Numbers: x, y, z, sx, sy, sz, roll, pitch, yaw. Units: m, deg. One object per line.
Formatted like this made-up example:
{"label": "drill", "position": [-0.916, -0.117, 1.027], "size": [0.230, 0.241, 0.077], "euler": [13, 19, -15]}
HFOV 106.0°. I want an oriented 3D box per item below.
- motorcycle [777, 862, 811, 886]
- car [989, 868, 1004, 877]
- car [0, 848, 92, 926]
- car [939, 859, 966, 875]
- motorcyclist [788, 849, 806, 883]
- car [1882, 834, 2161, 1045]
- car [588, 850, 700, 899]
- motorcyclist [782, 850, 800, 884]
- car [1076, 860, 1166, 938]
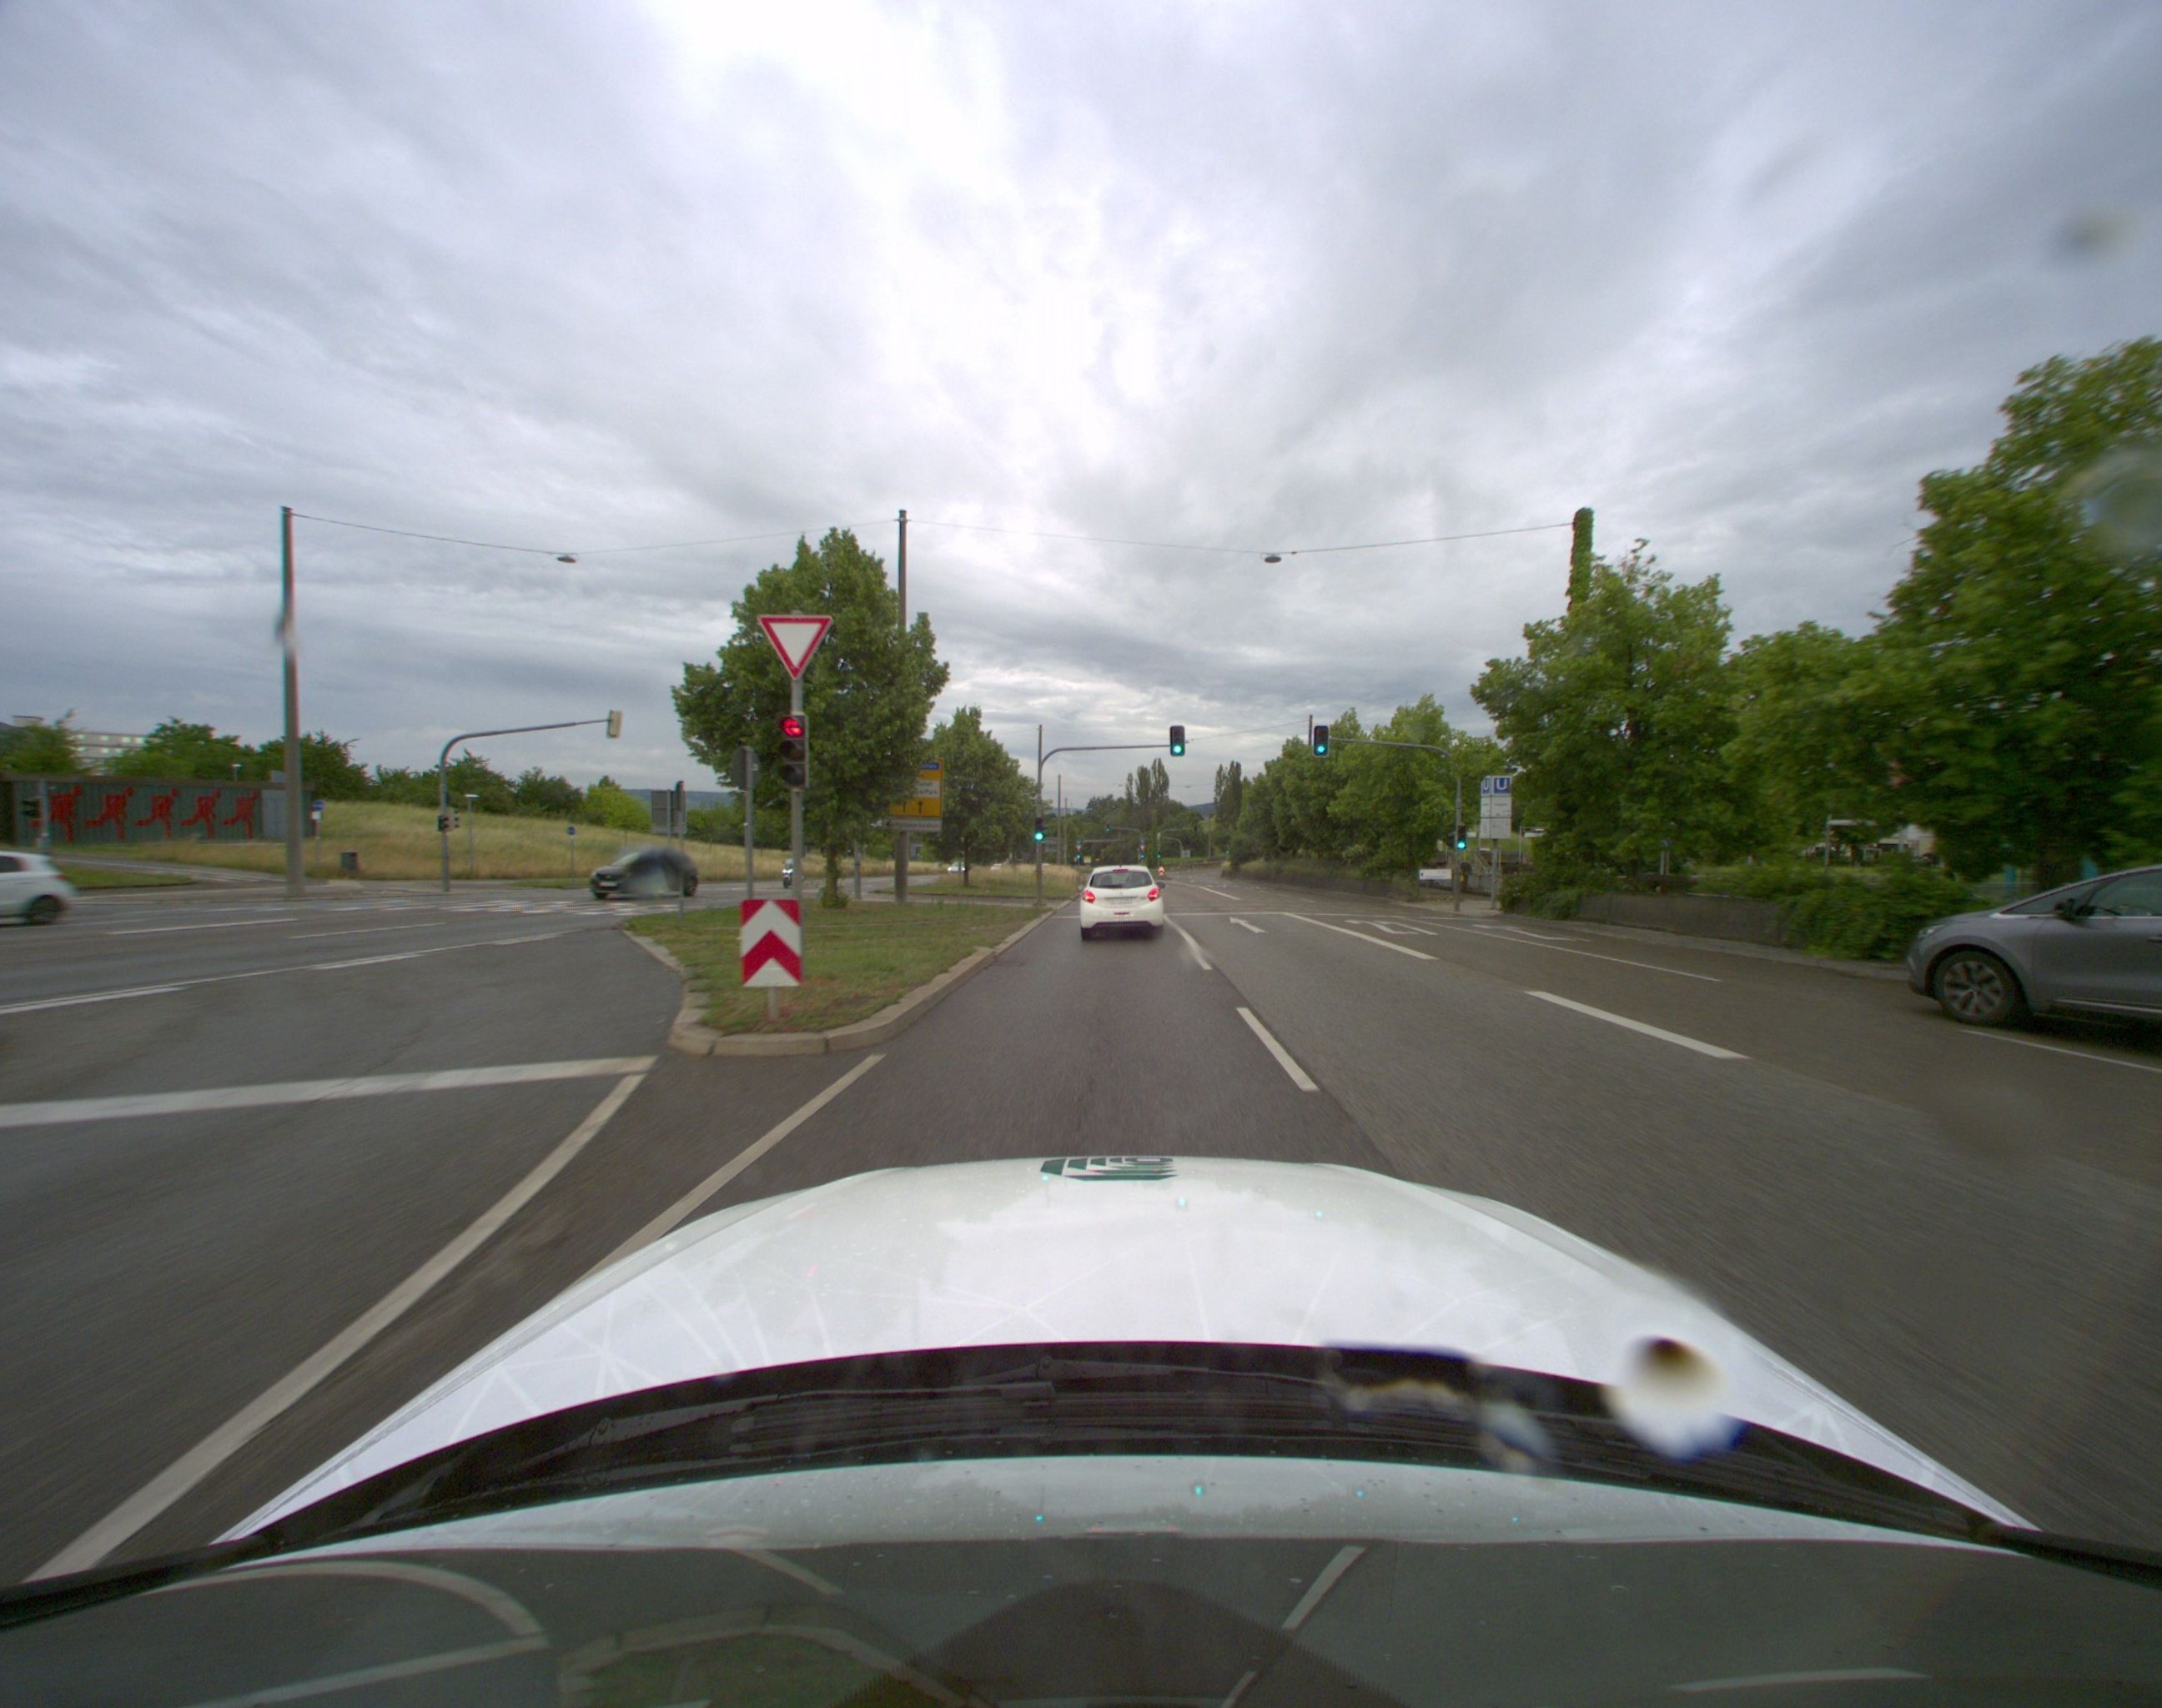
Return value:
{"label": "motorcycle", "position": [-13.502, 0.930, 38.381], "size": [0.614, 1.050, 2.503], "euler": [0, 1, 2]}
{"label": "car", "position": [-14.241, 3.146, 137.482], "size": [1.878, 1.611, 4.678], "euler": [0, -2, 2]}
{"label": "car", "position": [-21.156, 0.613, 14.785], "size": [1.645, 1.463, 3.776], "euler": [0, -1, 3]}
{"label": "car", "position": [-11.774, 1.194, 75.048], "size": [1.531, 1.389, 3.933], "euler": [0, -1, 5]}
{"label": "motorcyclist", "position": [-13.493, 0.568, 38.728], "size": [0.610, 1.581, 0.582], "euler": [0, 1, 1]}
{"label": "car", "position": [9.340, 0.706, 6.324], "size": [1.719, 1.648, 4.628], "euler": [2, 2, 2]}
{"label": "car", "position": [-14.260, 0.659, 26.794], "size": [1.532, 1.504, 3.665], "euler": [0, -1, 3]}
{"label": "motorcyclist", "position": [-13.493, 0.597, 37.947], "size": [0.580, 1.596, 0.644], "euler": [0, 1, 2]}
{"label": "car", "position": [0.857, 0.879, 17.609], "size": [1.702, 1.440, 3.693], "euler": [-1, 0, 2]}
